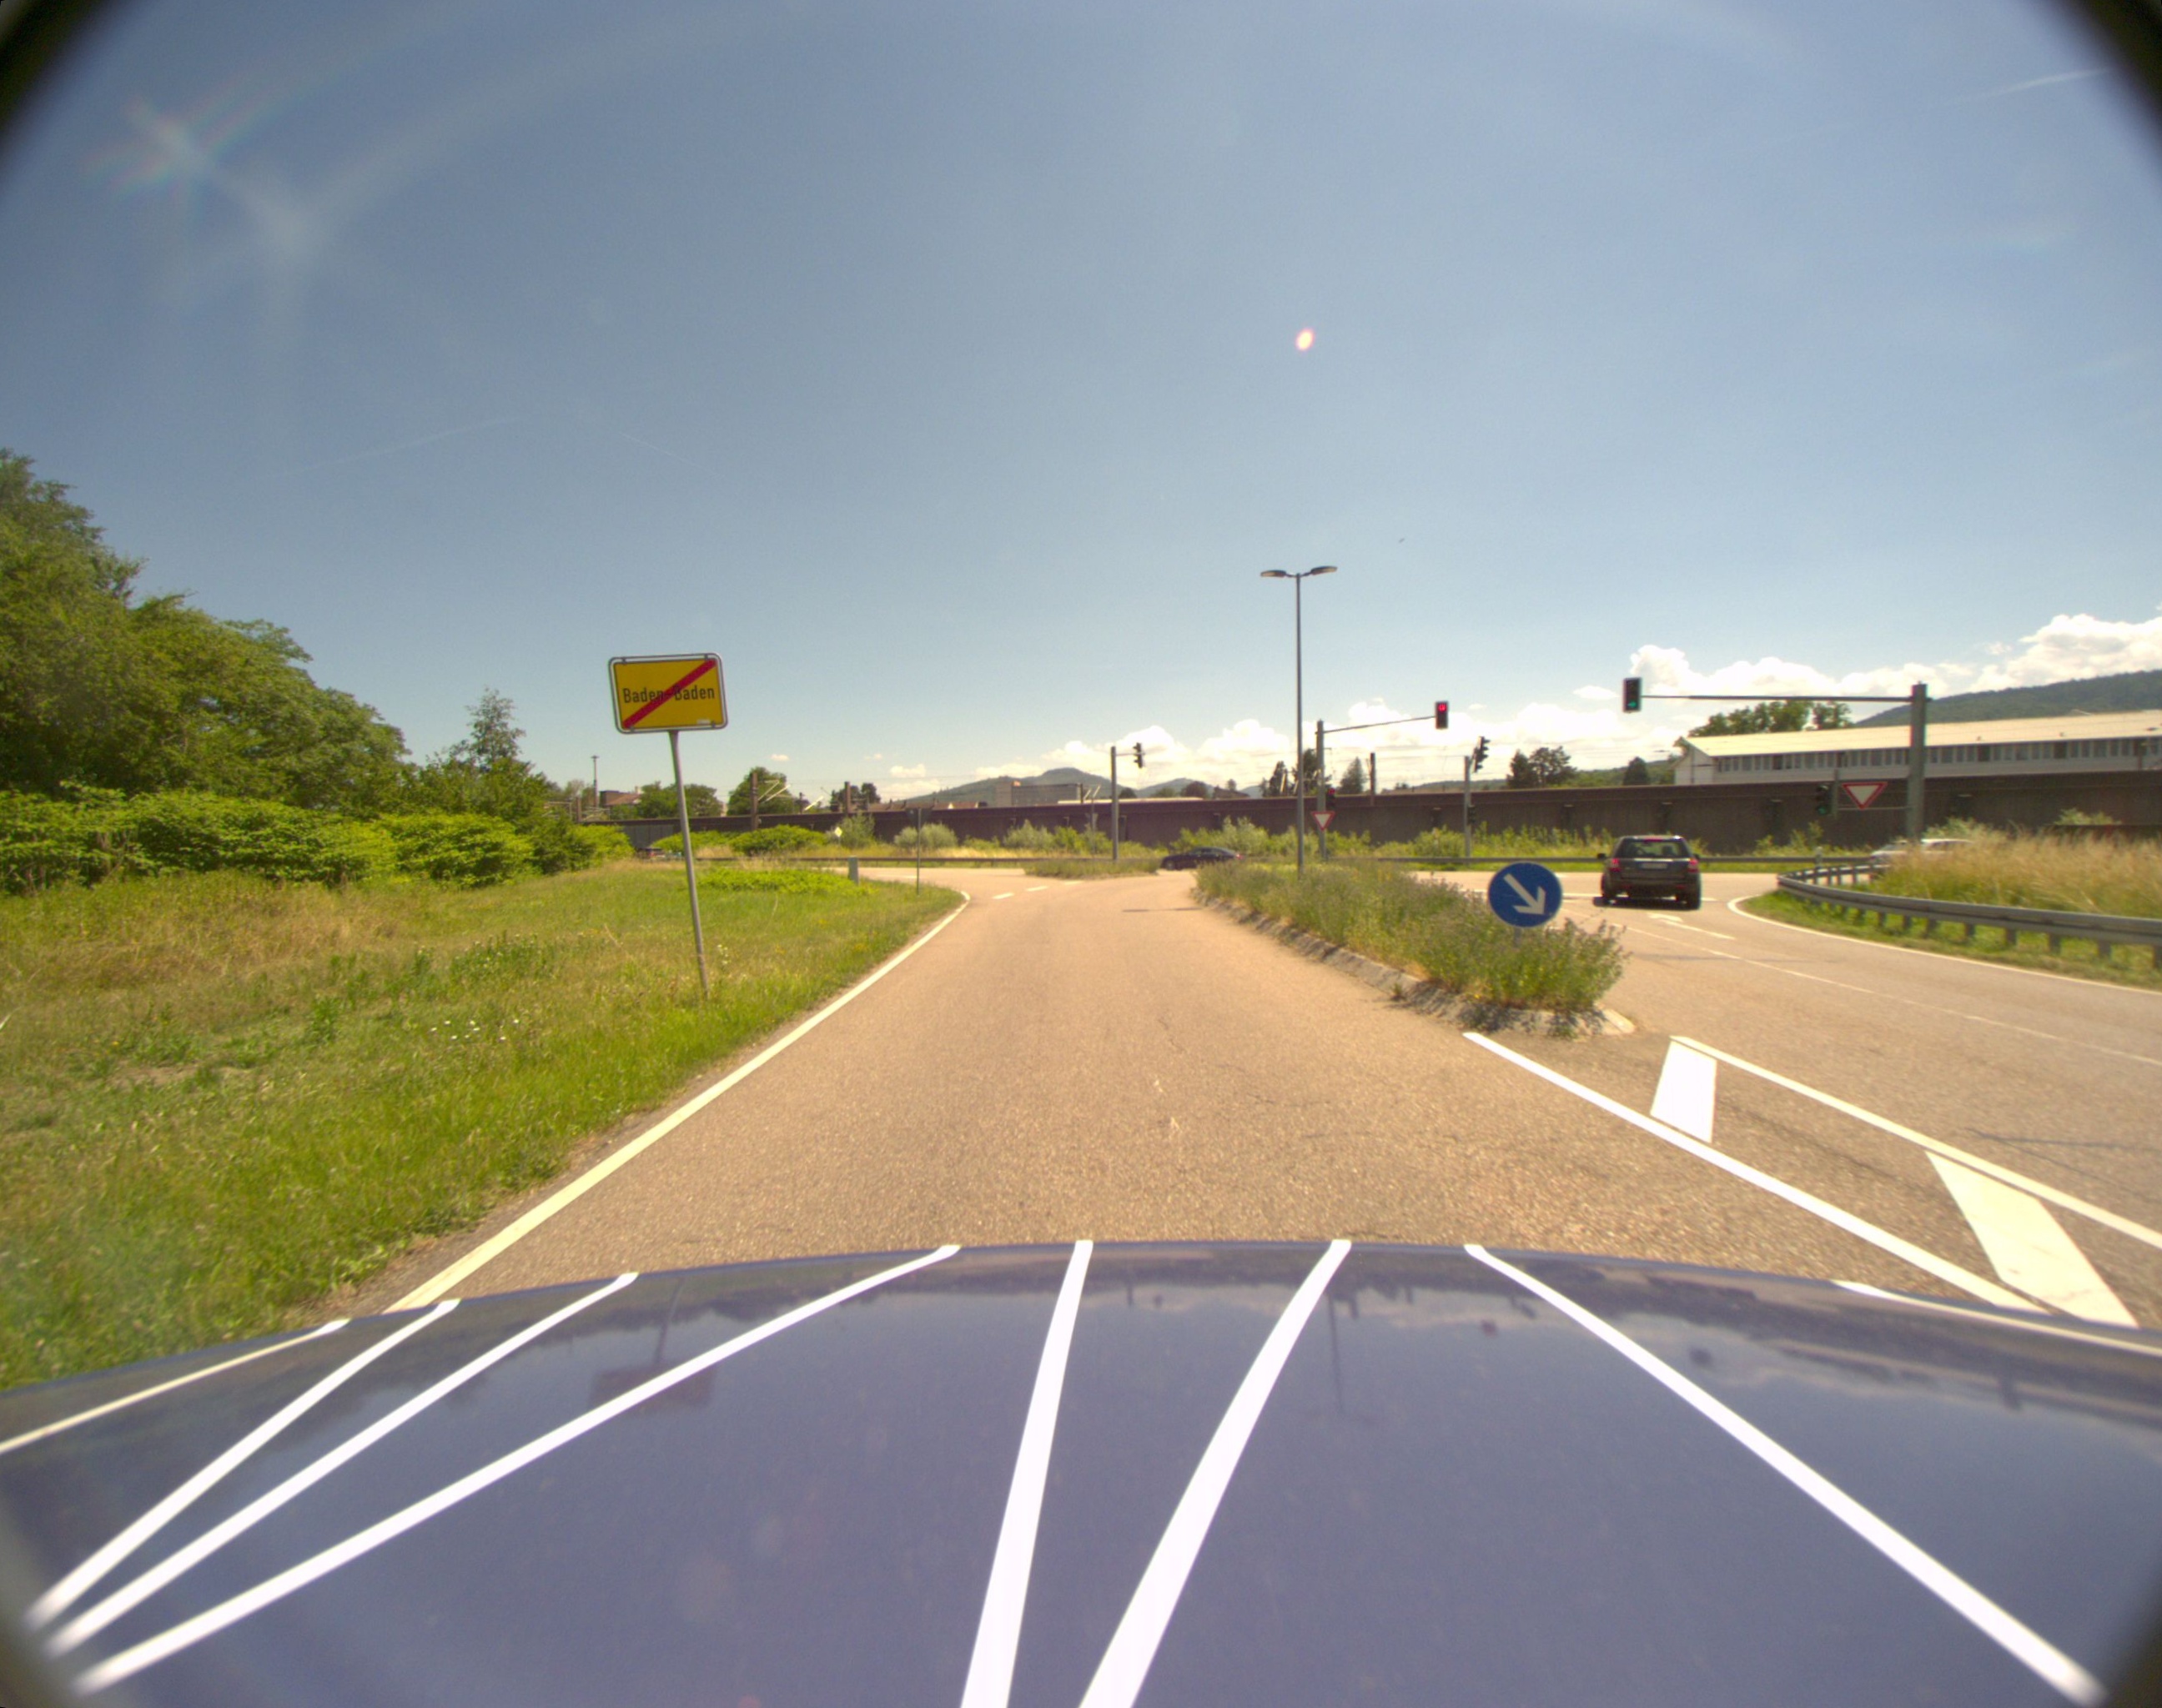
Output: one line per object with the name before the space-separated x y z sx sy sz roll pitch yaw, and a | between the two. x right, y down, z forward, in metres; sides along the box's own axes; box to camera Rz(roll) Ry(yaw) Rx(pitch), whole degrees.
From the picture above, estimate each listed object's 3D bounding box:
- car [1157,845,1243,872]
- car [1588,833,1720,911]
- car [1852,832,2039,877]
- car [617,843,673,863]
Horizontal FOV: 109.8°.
car | 6.805 0.234 43.508 4.506 1.446 1.791 0 1 24
car | 14.541 0.370 19.571 1.994 1.712 4.492 2 2 28
car | 28.807 0.007 25.464 3.853 1.401 1.734 -1 1 13
car | -36.511 -0.105 63.622 4.611 1.617 1.708 1 0 24
